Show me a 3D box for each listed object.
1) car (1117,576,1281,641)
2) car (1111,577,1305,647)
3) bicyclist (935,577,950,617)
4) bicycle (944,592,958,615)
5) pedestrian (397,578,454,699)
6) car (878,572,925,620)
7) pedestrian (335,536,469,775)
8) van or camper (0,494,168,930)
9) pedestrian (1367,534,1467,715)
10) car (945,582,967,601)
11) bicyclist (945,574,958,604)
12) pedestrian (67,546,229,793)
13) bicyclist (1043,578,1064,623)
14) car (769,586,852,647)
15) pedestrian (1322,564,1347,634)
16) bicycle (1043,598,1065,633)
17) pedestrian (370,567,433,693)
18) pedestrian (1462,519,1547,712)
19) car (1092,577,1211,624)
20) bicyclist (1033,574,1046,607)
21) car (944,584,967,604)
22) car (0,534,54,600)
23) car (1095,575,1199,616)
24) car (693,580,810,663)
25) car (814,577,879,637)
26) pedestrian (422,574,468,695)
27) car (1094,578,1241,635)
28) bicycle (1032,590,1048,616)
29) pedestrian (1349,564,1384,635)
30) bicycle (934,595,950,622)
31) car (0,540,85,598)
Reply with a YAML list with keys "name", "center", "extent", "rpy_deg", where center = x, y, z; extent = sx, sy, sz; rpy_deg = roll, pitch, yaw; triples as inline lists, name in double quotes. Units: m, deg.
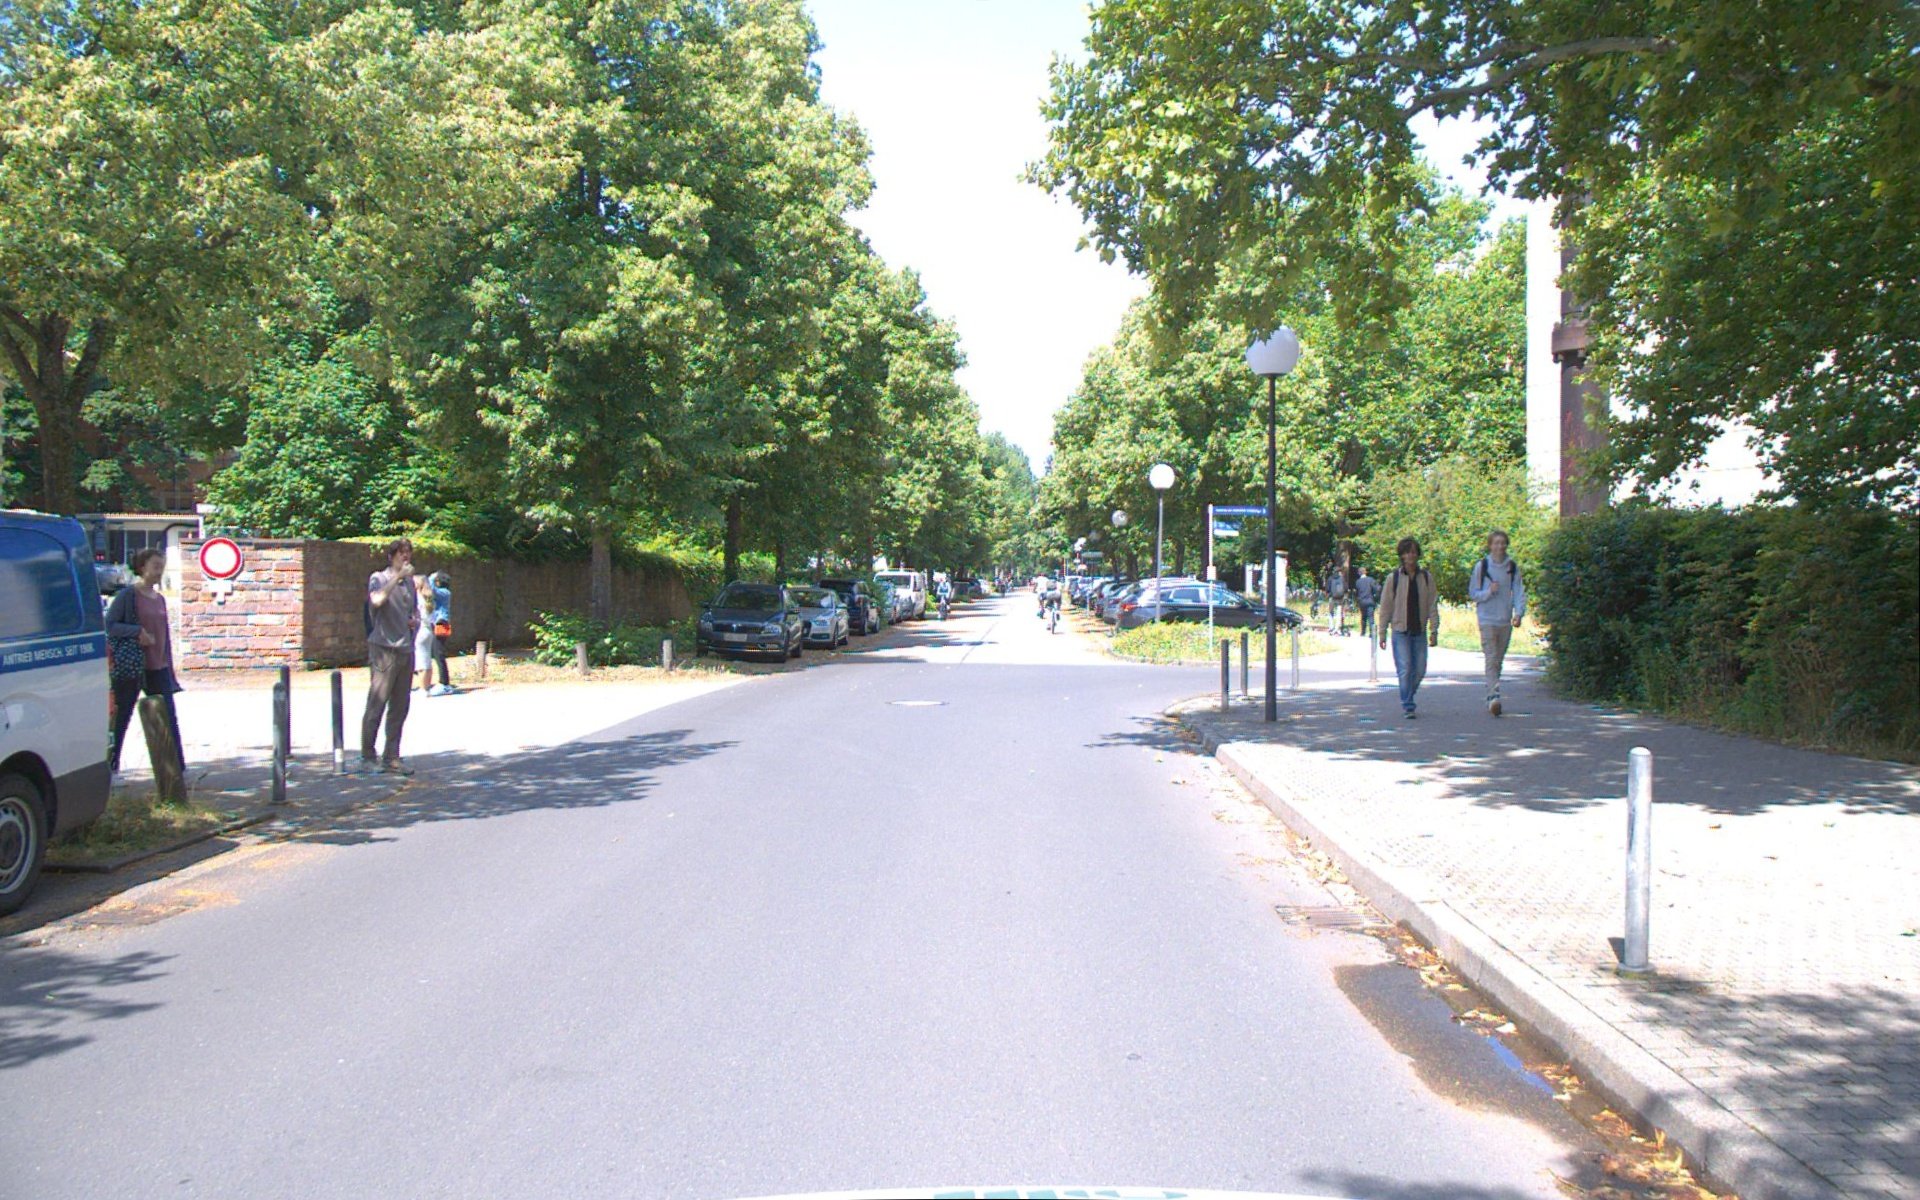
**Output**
- name: "car"
  center: [6.355, 0.215, 44.264]
  extent: [4.168, 1.616, 1.811]
  rpy_deg: [-1, 0, 2]
- name: "car"
  center: [5.843, 0.270, 39.372]
  extent: [4.392, 1.552, 1.811]
  rpy_deg: [-1, 0, 2]
- name: "bicyclist"
  center: [-0.685, -0.118, 64.135]
  extent: [0.551, 1.524, 0.828]
  rpy_deg: [0, 0, 1]
- name: "bicycle"
  center: [-0.388, 0.162, 73.970]
  extent: [0.601, 1.018, 1.424]
  rpy_deg: [0, 0, 1]
- name: "pedestrian"
  center: [-6.973, 0.487, 21.587]
  extent: [0.580, 1.553, 0.487]
  rpy_deg: [0, 0, -40]
- name: "car"
  center: [-2.250, -0.170, 64.445]
  extent: [1.582, 1.847, 4.001]
  rpy_deg: [0, 0, 1]
- name: "pedestrian"
  center: [-4.557, 0.435, 13.539]
  extent: [0.709, 1.889, 0.791]
  rpy_deg: [0, 0, 19]
- name: "van or camper"
  center: [-5.266, 0.498, 6.203]
  extent: [1.913, 1.956, 5.421]
  rpy_deg: [1, 1, 1]
- name: "pedestrian"
  center: [4.625, 0.238, 16.780]
  extent: [0.804, 1.786, 0.841]
  rpy_deg: [0, 0, 1]
- name: "car"
  center: [-0.288, -0.613, 122.600]
  extent: [1.582, 1.388, 4.562]
  rpy_deg: [0, 1, 0]
- name: "bicyclist"
  center: [-0.383, -0.494, 73.906]
  extent: [0.595, 1.318, 0.611]
  rpy_deg: [0, 0, 1]
- name: "pedestrian"
  center: [-5.948, 0.483, 12.146]
  extent: [0.724, 1.742, 0.792]
  rpy_deg: [0, 0, 16]
- name: "bicyclist"
  center: [2.781, 0.020, 49.211]
  extent: [0.597, 1.318, 0.611]
  rpy_deg: [0, 0, 1]
- name: "car"
  center: [-3.609, 0.364, 40.467]
  extent: [1.582, 1.412, 4.001]
  rpy_deg: [0, 1, 1]
- name: "pedestrian"
  center: [9.633, -0.037, 42.577]
  extent: [0.588, 1.786, 0.629]
  rpy_deg: [0, 0, 8]
- name: "bicycle"
  center: [2.787, 0.467, 49.230]
  extent: [0.601, 1.018, 1.424]
  rpy_deg: [0, 0, 1]
- name: "pedestrian"
  center: [-7.600, 0.395, 22.514]
  extent: [0.593, 1.692, 0.624]
  rpy_deg: [0, 0, 43]
- name: "pedestrian"
  center: [5.516, 0.150, 16.792]
  extent: [0.657, 1.905, 0.792]
  rpy_deg: [0, 0, 5]
- name: "car"
  center: [6.972, 0.002, 60.560]
  extent: [4.168, 1.616, 1.920]
  rpy_deg: [-1, 0, 2]
- name: "bicyclist"
  center: [3.219, -0.397, 67.306]
  extent: [0.511, 1.318, 0.611]
  rpy_deg: [0, 0, 1]
- name: "car"
  center: [-0.304, -0.423, 112.889]
  extent: [1.582, 1.388, 4.000]
  rpy_deg: [0, 1, 0]
- name: "car"
  center: [-23.623, -0.772, 38.718]
  extent: [4.057, 1.543, 1.734]
  rpy_deg: [0, 1, -37]
- name: "car"
  center: [7.819, -0.199, 69.393]
  extent: [4.168, 1.616, 1.920]
  rpy_deg: [-1, 0, 2]
- name: "car"
  center: [-4.062, 0.381, 32.837]
  extent: [1.723, 1.548, 4.112]
  rpy_deg: [0, 1, 1]
- name: "car"
  center: [-3.331, 0.186, 49.152]
  extent: [1.582, 1.708, 4.001]
  rpy_deg: [0, 0, 1]
- name: "pedestrian"
  center: [-6.953, 0.459, 22.321]
  extent: [0.489, 1.613, 0.488]
  rpy_deg: [0, 0, -33]
- name: "car"
  center: [6.116, 0.180, 49.079]
  extent: [4.168, 1.616, 1.811]
  rpy_deg: [-1, 0, 2]
- name: "bicycle"
  center: [3.245, 0.114, 67.293]
  extent: [0.601, 1.018, 1.424]
  rpy_deg: [0, 0, 1]
- name: "pedestrian"
  center: [10.381, -0.013, 42.231]
  extent: [0.803, 1.786, 0.629]
  rpy_deg: [0, 0, 7]
- name: "bicycle"
  center: [-0.689, 0.337, 64.183]
  extent: [0.565, 1.018, 1.424]
  rpy_deg: [0, 0, 1]
- name: "car"
  center: [-27.375, -0.879, 47.537]
  extent: [3.802, 1.650, 1.744]
  rpy_deg: [0, 0, -24]
